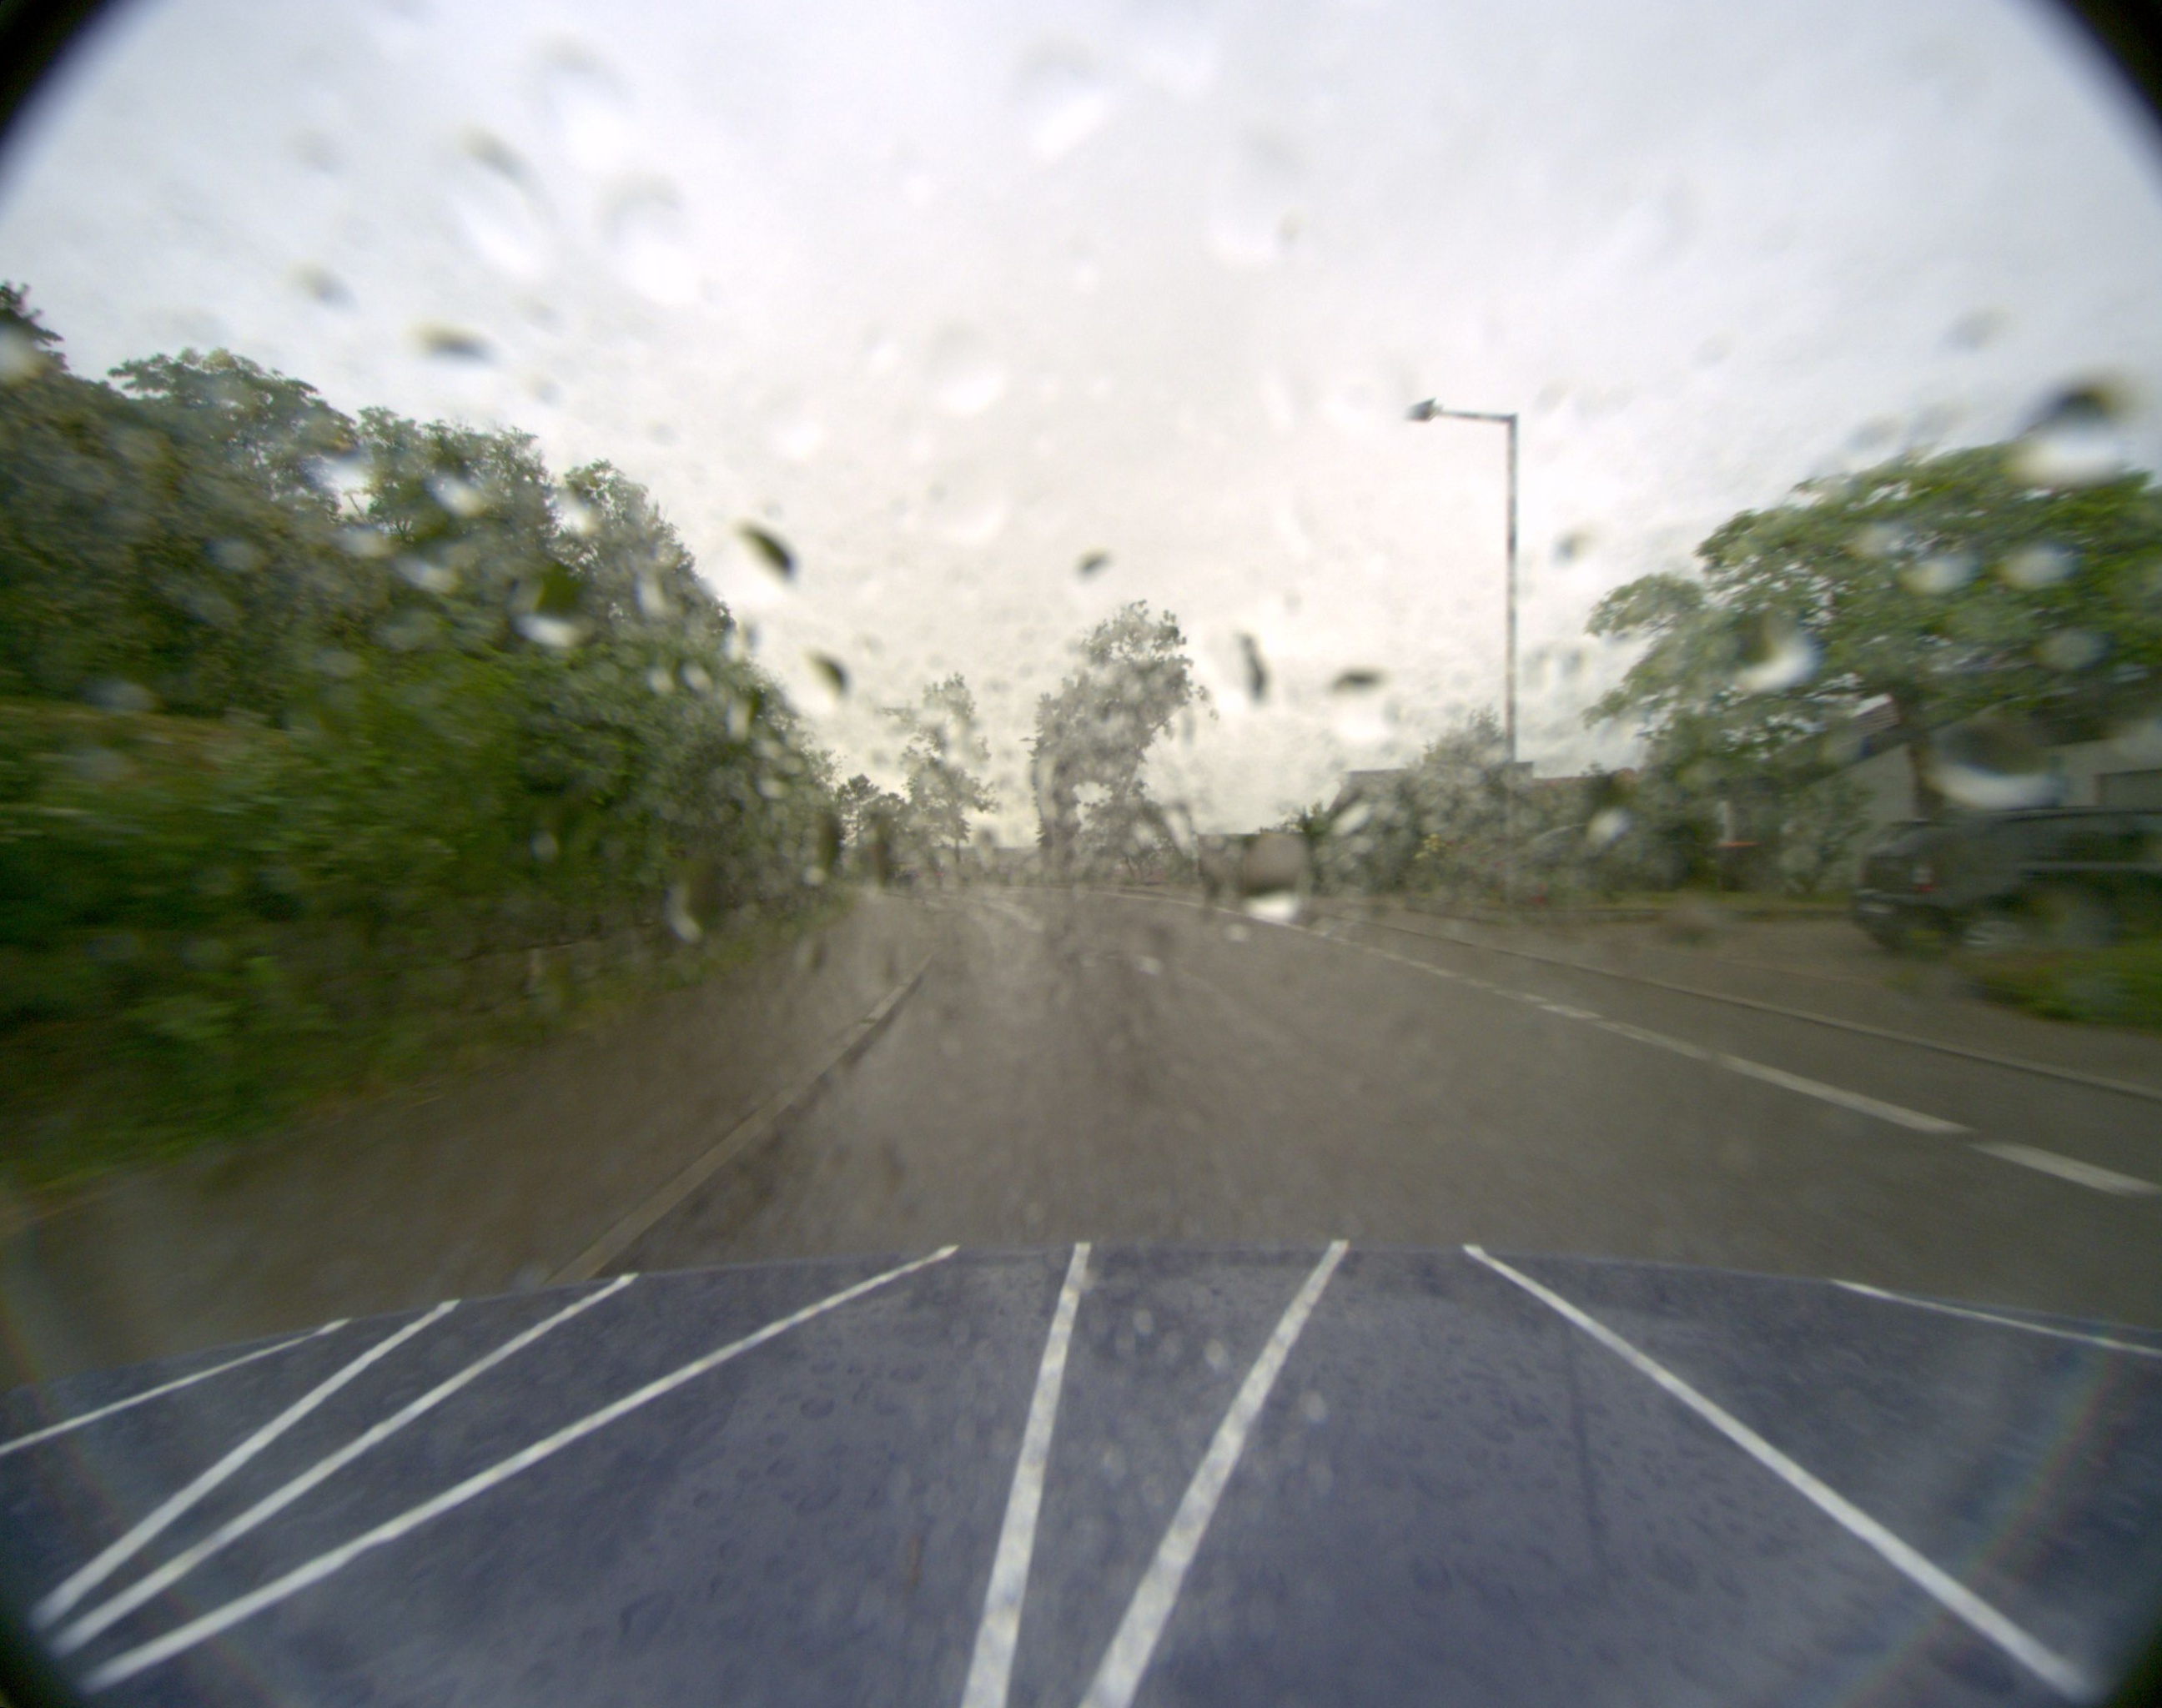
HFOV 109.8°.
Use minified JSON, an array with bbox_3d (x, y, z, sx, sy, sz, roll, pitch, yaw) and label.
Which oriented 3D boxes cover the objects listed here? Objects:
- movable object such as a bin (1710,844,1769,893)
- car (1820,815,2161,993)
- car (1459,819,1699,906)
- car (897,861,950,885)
[{"bbox_3d":[14.399,0.305,16.635,0.718,1.030,0.733,-2,0,19],"label":"movable object such as a bin"},{"bbox_3d":[9.698,0.376,6.828,3.990,1.381,1.943,-3,2,29],"label":"car"},{"bbox_3d":[10.577,0.210,16.534,3.991,1.622,2.017,-3,0,22],"label":"car"},{"bbox_3d":[-10.101,1.216,48.436,1.786,1.412,4.155,-2,0,-35],"label":"car"}]
